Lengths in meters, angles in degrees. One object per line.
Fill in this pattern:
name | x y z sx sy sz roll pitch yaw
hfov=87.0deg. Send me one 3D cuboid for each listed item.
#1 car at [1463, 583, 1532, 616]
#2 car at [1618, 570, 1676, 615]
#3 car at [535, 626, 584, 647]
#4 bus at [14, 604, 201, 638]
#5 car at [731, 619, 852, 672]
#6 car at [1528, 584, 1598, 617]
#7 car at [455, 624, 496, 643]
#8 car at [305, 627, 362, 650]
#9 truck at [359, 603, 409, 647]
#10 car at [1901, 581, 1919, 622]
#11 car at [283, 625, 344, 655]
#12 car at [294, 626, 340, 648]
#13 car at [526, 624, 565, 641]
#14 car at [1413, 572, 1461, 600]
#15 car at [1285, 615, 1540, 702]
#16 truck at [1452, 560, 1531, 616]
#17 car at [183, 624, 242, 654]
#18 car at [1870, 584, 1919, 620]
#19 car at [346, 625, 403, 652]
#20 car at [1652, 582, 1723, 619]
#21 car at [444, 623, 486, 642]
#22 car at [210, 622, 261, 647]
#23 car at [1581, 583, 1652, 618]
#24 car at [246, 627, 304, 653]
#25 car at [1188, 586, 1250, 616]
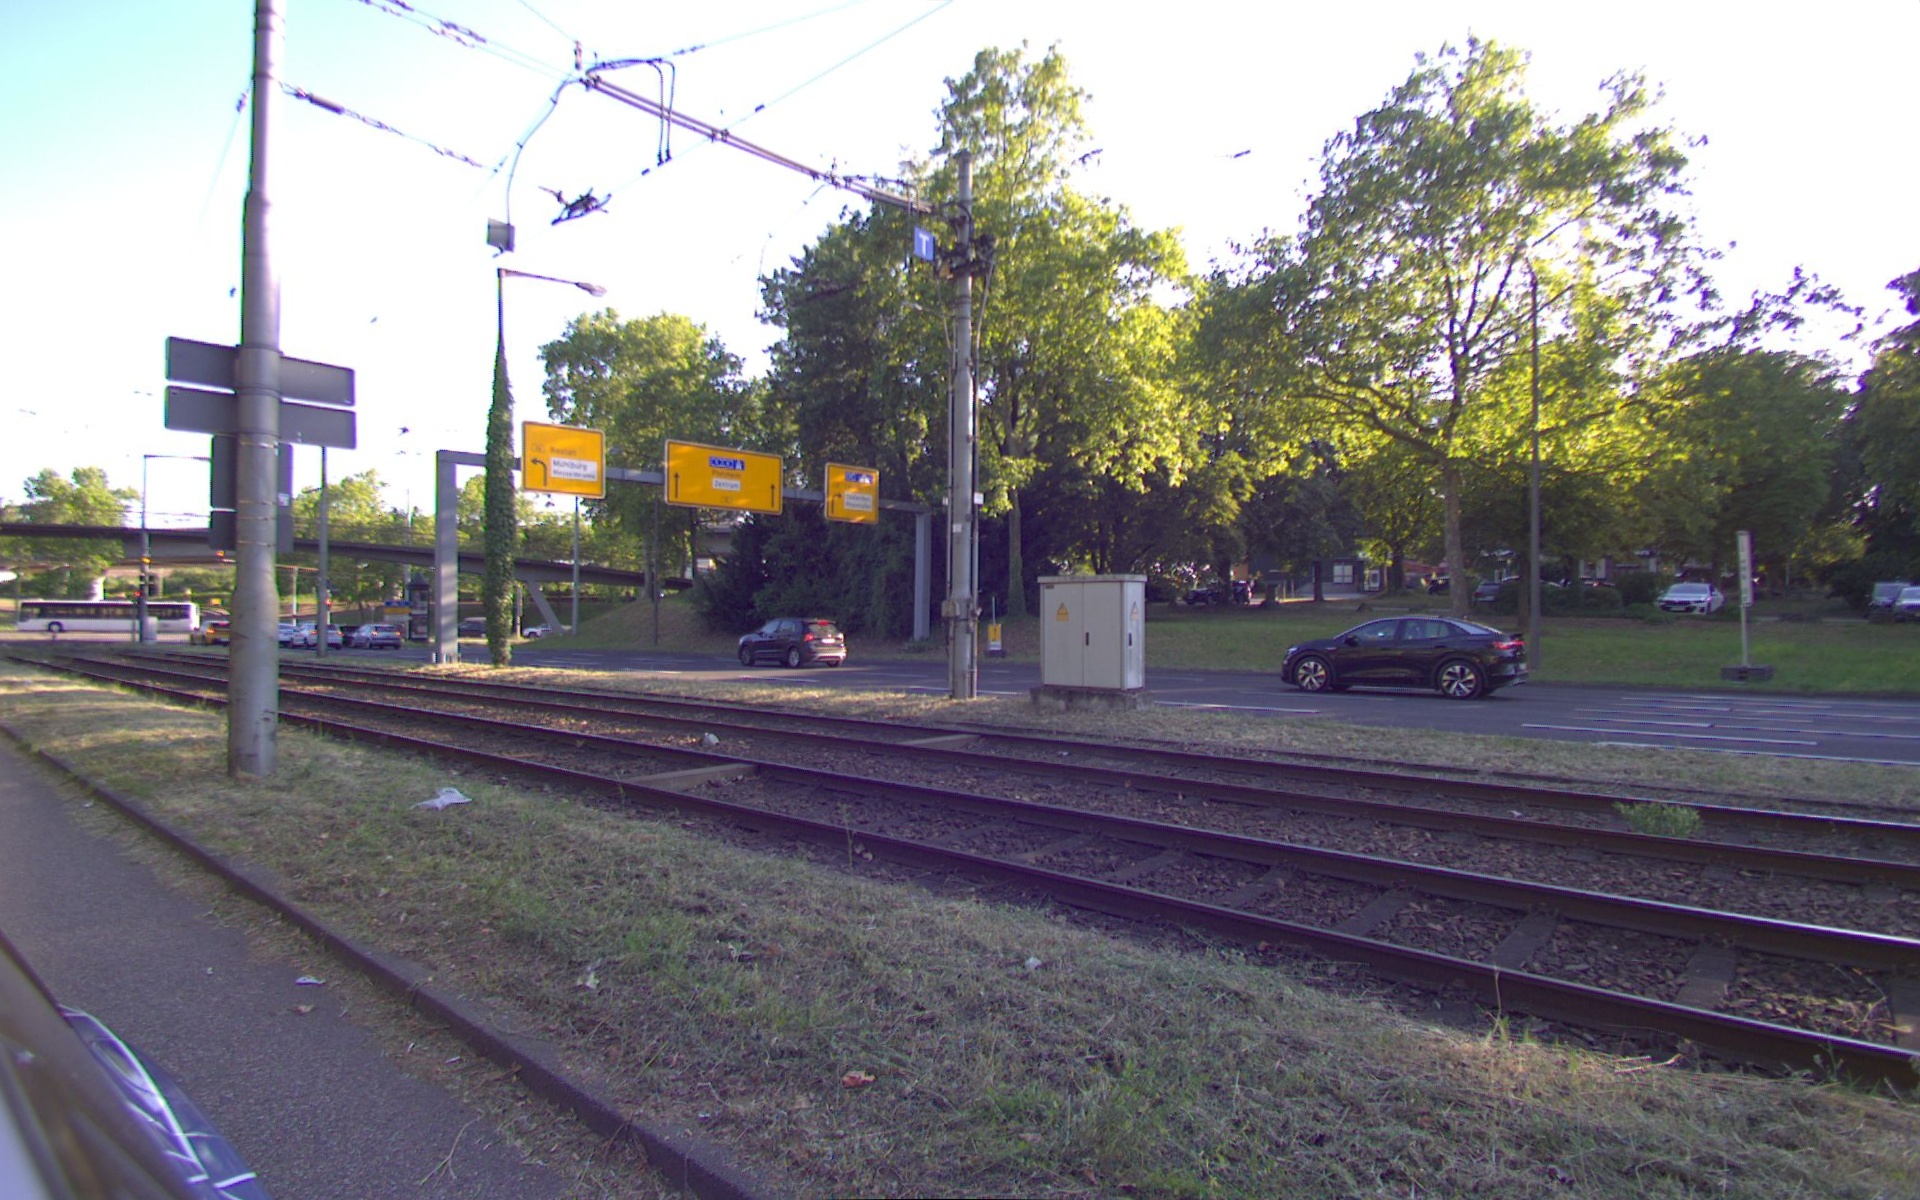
car | 26.155 -0.052 49.195 1.942 1.521 4.039 0 0 44
car | 36.871 -0.409 54.249 2.161 2.320 4.348 0 0 40
car | -35.566 3.227 89.800 3.931 1.668 1.790 -1 0 -25
bus | -78.361 1.874 93.520 12.967 2.884 2.424 -1 0 -29
car | -5.401 1.416 32.192 3.973 1.569 1.732 -2 -3 43
car | 28.411 0.007 47.666 1.942 1.521 4.039 0 0 44
car | -51.296 3.506 107.170 3.748 1.872 1.682 -1 0 -30
car | -39.778 2.419 64.233 4.224 1.435 1.844 -1 -1 40
truck | -40.319 1.732 70.772 2.248 2.901 6.895 0 -1 -37
car | 37.566 0.028 38.903 1.942 1.521 4.039 0 0 44
car | -35.756 2.197 55.961 3.997 1.556 1.744 -1 -1 40
car | -44.290 2.498 69.678 1.891 1.435 4.229 0 -1 -44
car | -43.948 3.422 107.342 3.747 1.591 1.683 -1 0 -26
car | 33.540 -1.005 71.070 2.290 1.864 5.214 -1 1 34
car | 8.851 1.086 19.999 4.329 1.556 1.714 -1 -2 39
truck | 31.727 -0.698 60.294 2.503 3.191 6.137 0 0 45
car | -40.819 2.116 55.260 3.997 1.556 1.744 -1 -1 40
car | 43.954 0.086 47.236 3.998 1.628 1.864 -1 0 -43
car | -34.962 2.263 60.405 3.998 1.556 1.789 -1 -1 41
car | 31.547 -0.005 43.854 1.942 1.521 4.039 0 0 44
car | -50.817 3.328 103.923 3.748 1.872 1.682 -1 0 -30
car | -45.854 2.175 64.048 4.228 1.561 1.892 -1 -2 44
car | 30.020 -0.002 46.229 1.942 1.521 4.039 0 0 44
car | -40.590 2.328 59.959 4.226 1.435 1.893 -1 -1 42
car | 15.380 0.053 59.965 1.791 1.657 3.942 -1 -1 44
